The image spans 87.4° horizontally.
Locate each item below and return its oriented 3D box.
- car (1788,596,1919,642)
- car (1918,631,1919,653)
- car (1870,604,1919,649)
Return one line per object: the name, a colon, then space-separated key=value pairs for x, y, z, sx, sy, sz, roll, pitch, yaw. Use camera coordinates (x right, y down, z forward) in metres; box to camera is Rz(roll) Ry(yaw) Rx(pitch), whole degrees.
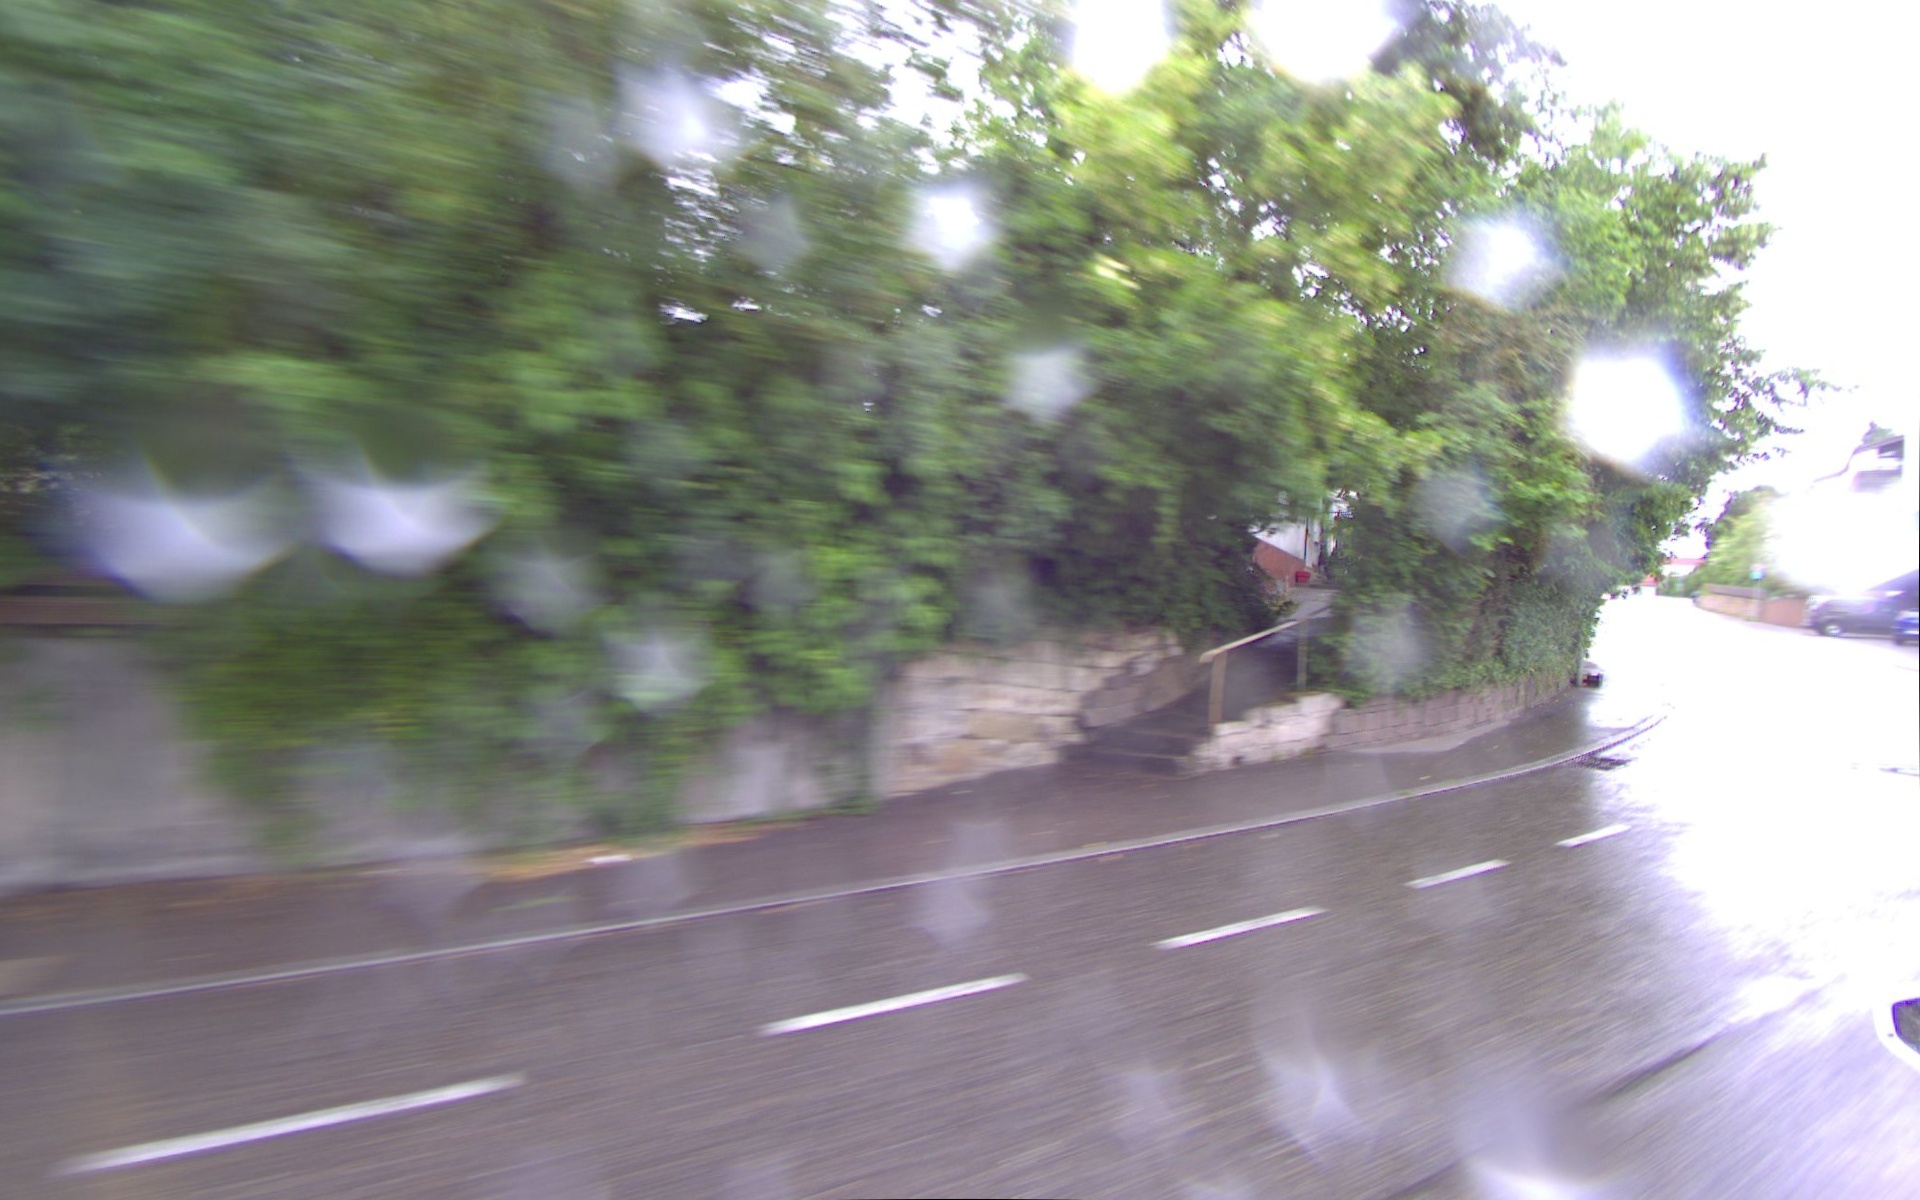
car: x=41.252 y=0.846 z=46.108 sx=4.638 sy=1.845 sz=1.996 roll=2 pitch=3 yaw=30
car: x=36.812 y=1.215 z=36.408 sx=4.016 sy=1.600 sz=1.774 roll=2 pitch=4 yaw=-28
car: x=38.128 y=1.070 z=39.531 sx=4.008 sy=1.600 sz=1.777 roll=2 pitch=4 yaw=-23
